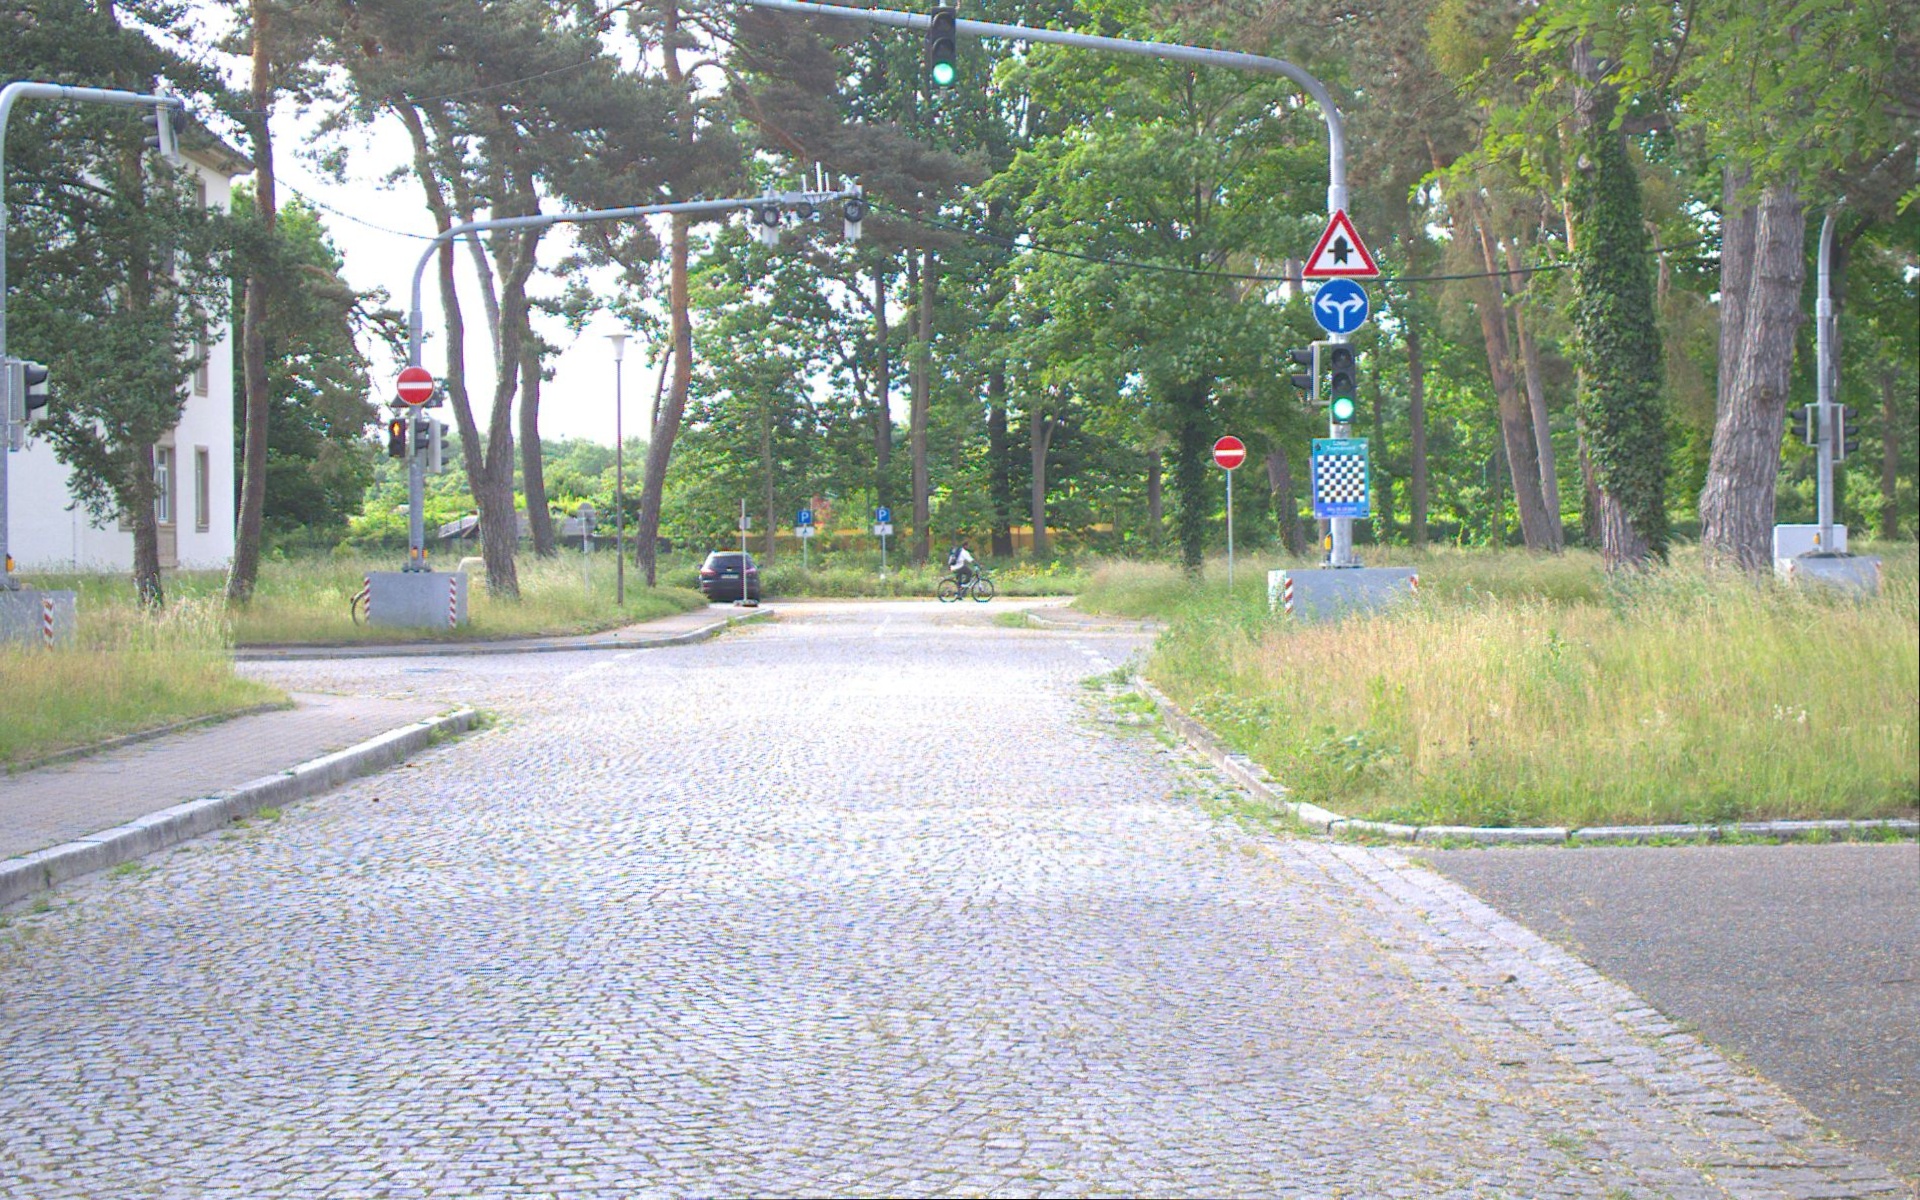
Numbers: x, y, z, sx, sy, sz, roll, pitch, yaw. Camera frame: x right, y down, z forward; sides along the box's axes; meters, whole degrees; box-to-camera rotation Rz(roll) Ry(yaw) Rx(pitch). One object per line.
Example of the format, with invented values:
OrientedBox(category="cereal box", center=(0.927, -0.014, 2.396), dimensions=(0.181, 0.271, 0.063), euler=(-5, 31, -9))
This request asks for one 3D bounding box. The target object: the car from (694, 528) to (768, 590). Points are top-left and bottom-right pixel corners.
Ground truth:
OrientedBox(category="car", center=(-6.931, -1.259, 104.538), dimensions=(2.056, 1.840, 4.000), euler=(-1, 1, -1))

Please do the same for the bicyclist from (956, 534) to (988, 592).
OrientedBox(category="bicyclist", center=(0.351, -1.063, 99.009), dimensions=(0.748, 1.665, 0.526), euler=(1, 0, -21))

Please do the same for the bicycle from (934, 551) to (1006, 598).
OrientedBox(category="bicycle", center=(0.289, -0.738, 99.003), dimensions=(1.968, 1.316, 0.518), euler=(1, 0, -20))
